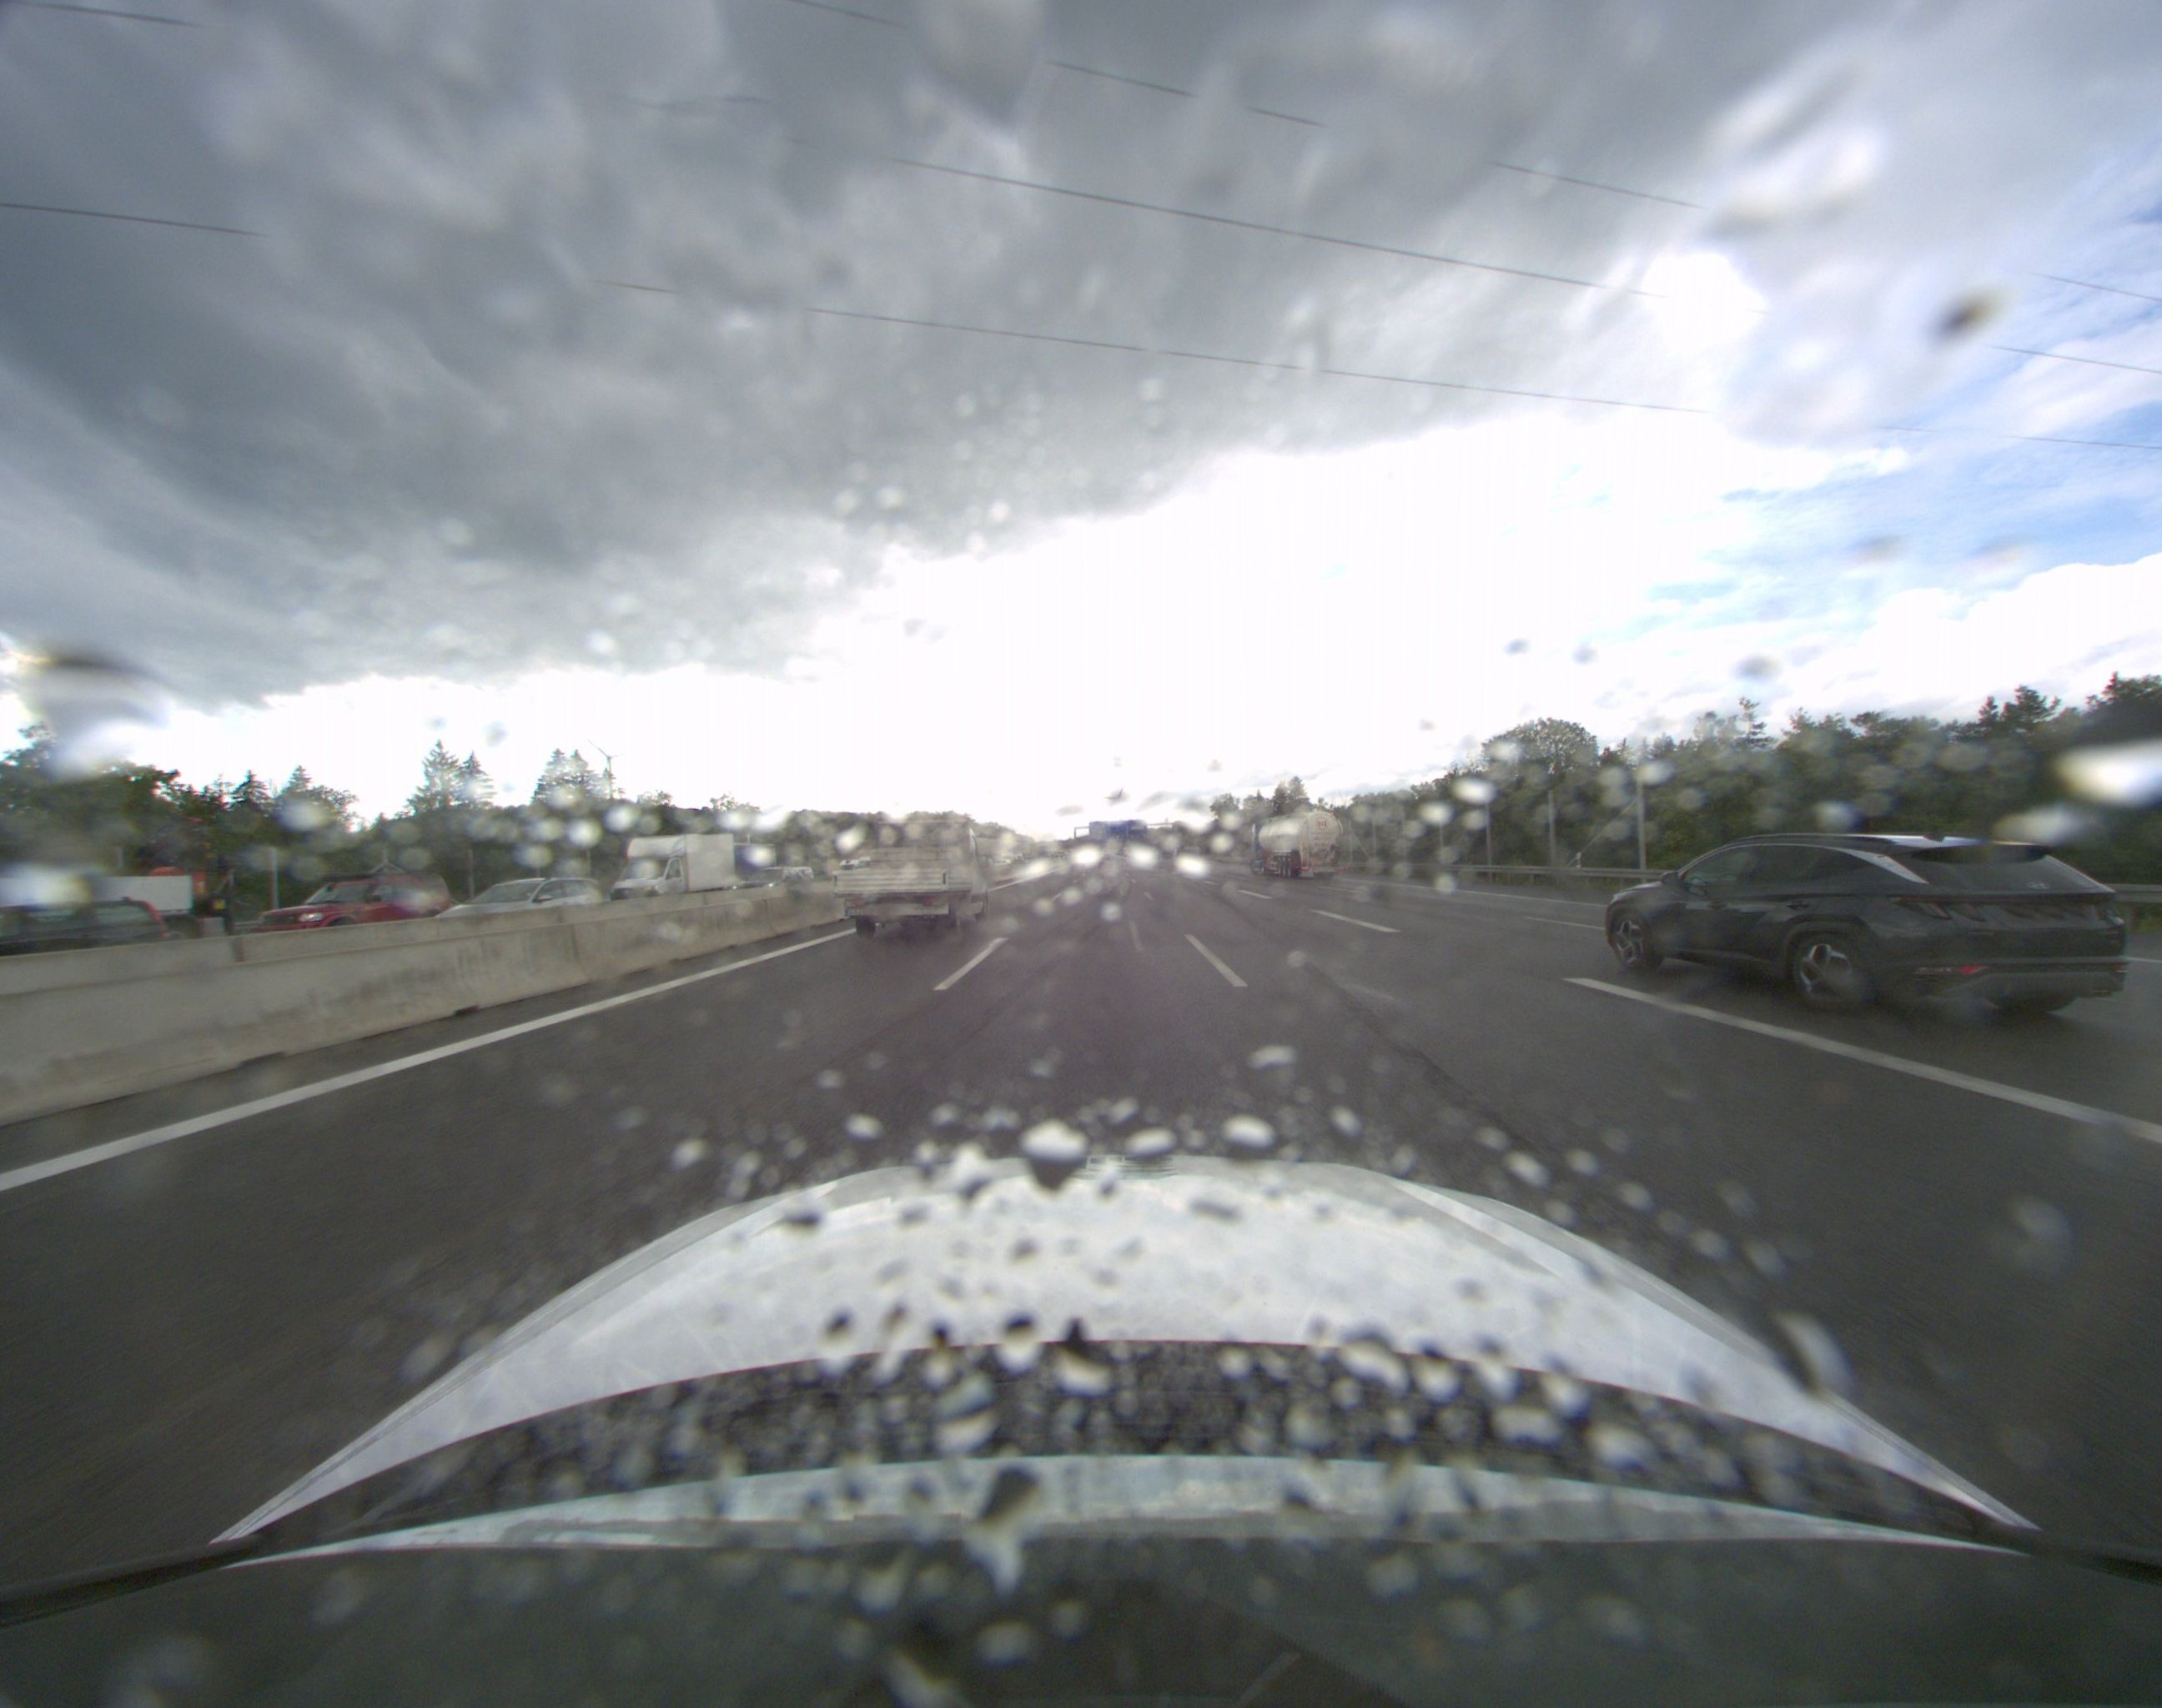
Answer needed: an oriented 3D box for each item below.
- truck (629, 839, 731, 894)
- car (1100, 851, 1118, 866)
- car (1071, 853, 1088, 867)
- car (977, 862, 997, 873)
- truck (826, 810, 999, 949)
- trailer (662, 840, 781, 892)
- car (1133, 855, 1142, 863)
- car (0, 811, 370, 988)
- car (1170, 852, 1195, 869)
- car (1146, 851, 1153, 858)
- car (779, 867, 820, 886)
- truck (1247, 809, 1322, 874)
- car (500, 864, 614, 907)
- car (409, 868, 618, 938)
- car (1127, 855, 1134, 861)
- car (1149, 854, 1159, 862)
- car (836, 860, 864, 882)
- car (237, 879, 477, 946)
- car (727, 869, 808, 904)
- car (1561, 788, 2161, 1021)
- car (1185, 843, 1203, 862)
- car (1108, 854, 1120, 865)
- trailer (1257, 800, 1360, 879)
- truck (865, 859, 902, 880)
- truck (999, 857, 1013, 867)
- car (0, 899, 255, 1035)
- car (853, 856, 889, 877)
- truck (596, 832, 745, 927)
[{"bbox_3d":[-27.919,0.831,57.174,3.126,3.582,7.668,-1,0,2],"label":"truck"},{"bbox_3d":[3.317,0.546,96.334,2.038,1.699,4.001,-1,0,1],"label":"car"},{"bbox_3d":[-0.178,0.698,104.337,2.037,1.699,4.002,-1,0,2],"label":"car"},{"bbox_3d":[-10.747,1.538,93.347,1.683,1.234,4.002,-1,0,2],"label":"car"},{"bbox_3d":[-3.323,0.415,17.969,2.346,2.408,7.355,-1,0,-1],"label":"truck"},{"bbox_3d":[-27.668,0.880,63.724,3.126,3.582,12.894,-1,0,2],"label":"trailer"},{"bbox_3d":[13.746,1.210,199.662,2.037,1.699,4.003,-1,0,3],"label":"car"},{"bbox_3d":[-25.586,1.042,21.412,3.190,3.947,11.662,-1,0,2],"label":"car"},{"bbox_3d":[10.675,0.644,85.991,2.092,1.699,3.998,-1,0,-2],"label":"car"},{"bbox_3d":[19.158,0.133,227.802,2.037,1.699,4.003,-1,0,3],"label":"car"},{"bbox_3d":[-23.271,1.823,67.503,1.863,1.417,4.040,-1,0,2],"label":"car"},{"bbox_3d":[13.672,-0.813,55.517,3.320,4.080,8.275,-1,0,2],"label":"truck"},{"bbox_3d":[-20.963,1.205,32.785,1.863,1.544,4.040,-1,0,2],"label":"car"},{"bbox_3d":[-12.957,1.050,19.001,1.683,1.334,4.373,-1,0,2],"label":"car"},{"bbox_3d":[14.958,1.107,246.010,1.861,1.728,4.002,-1,0,2],"label":"car"},{"bbox_3d":[17.359,0.894,194.011,1.986,1.750,4.498,-1,0,2],"label":"car"},{"bbox_3d":[-26.631,1.942,94.012,1.866,2.367,4.324,-1,0,2],"label":"car"},{"bbox_3d":[-20.621,1.582,23.654,1.906,1.544,5.506,-1,0,2],"label":"car"},{"bbox_3d":[-12.833,1.294,33.597,1.683,1.234,4.002,-1,0,2],"label":"car"},{"bbox_3d":[7.616,0.413,8.696,2.038,1.699,5.007,-2,-1,1],"label":"car"},{"bbox_3d":[15.768,-0.250,113.692,2.037,2.498,4.002,-1,0,2],"label":"car"},{"bbox_3d":[5.250,0.866,128.228,1.850,1.547,4.002,-1,0,2],"label":"car"},{"bbox_3d":[13.501,-0.781,49.603,3.320,4.175,11.843,-1,0,2],"label":"trailer"},{"bbox_3d":[-16.191,1.255,66.957,1.986,1.670,4.001,-1,0,1],"label":"truck"},{"bbox_3d":[-13.090,1.420,142.698,1.987,1.708,4.313,-1,0,0],"label":"truck"},{"bbox_3d":[-17.782,1.873,13.792,1.986,1.915,5.372,-1,0,2],"label":"car"},{"bbox_3d":[-19.431,1.146,75.526,1.863,1.798,5.035,-1,0,2],"label":"car"},{"bbox_3d":[-16.939,0.968,34.256,2.175,3.519,7.494,-1,0,2],"label":"truck"}]
